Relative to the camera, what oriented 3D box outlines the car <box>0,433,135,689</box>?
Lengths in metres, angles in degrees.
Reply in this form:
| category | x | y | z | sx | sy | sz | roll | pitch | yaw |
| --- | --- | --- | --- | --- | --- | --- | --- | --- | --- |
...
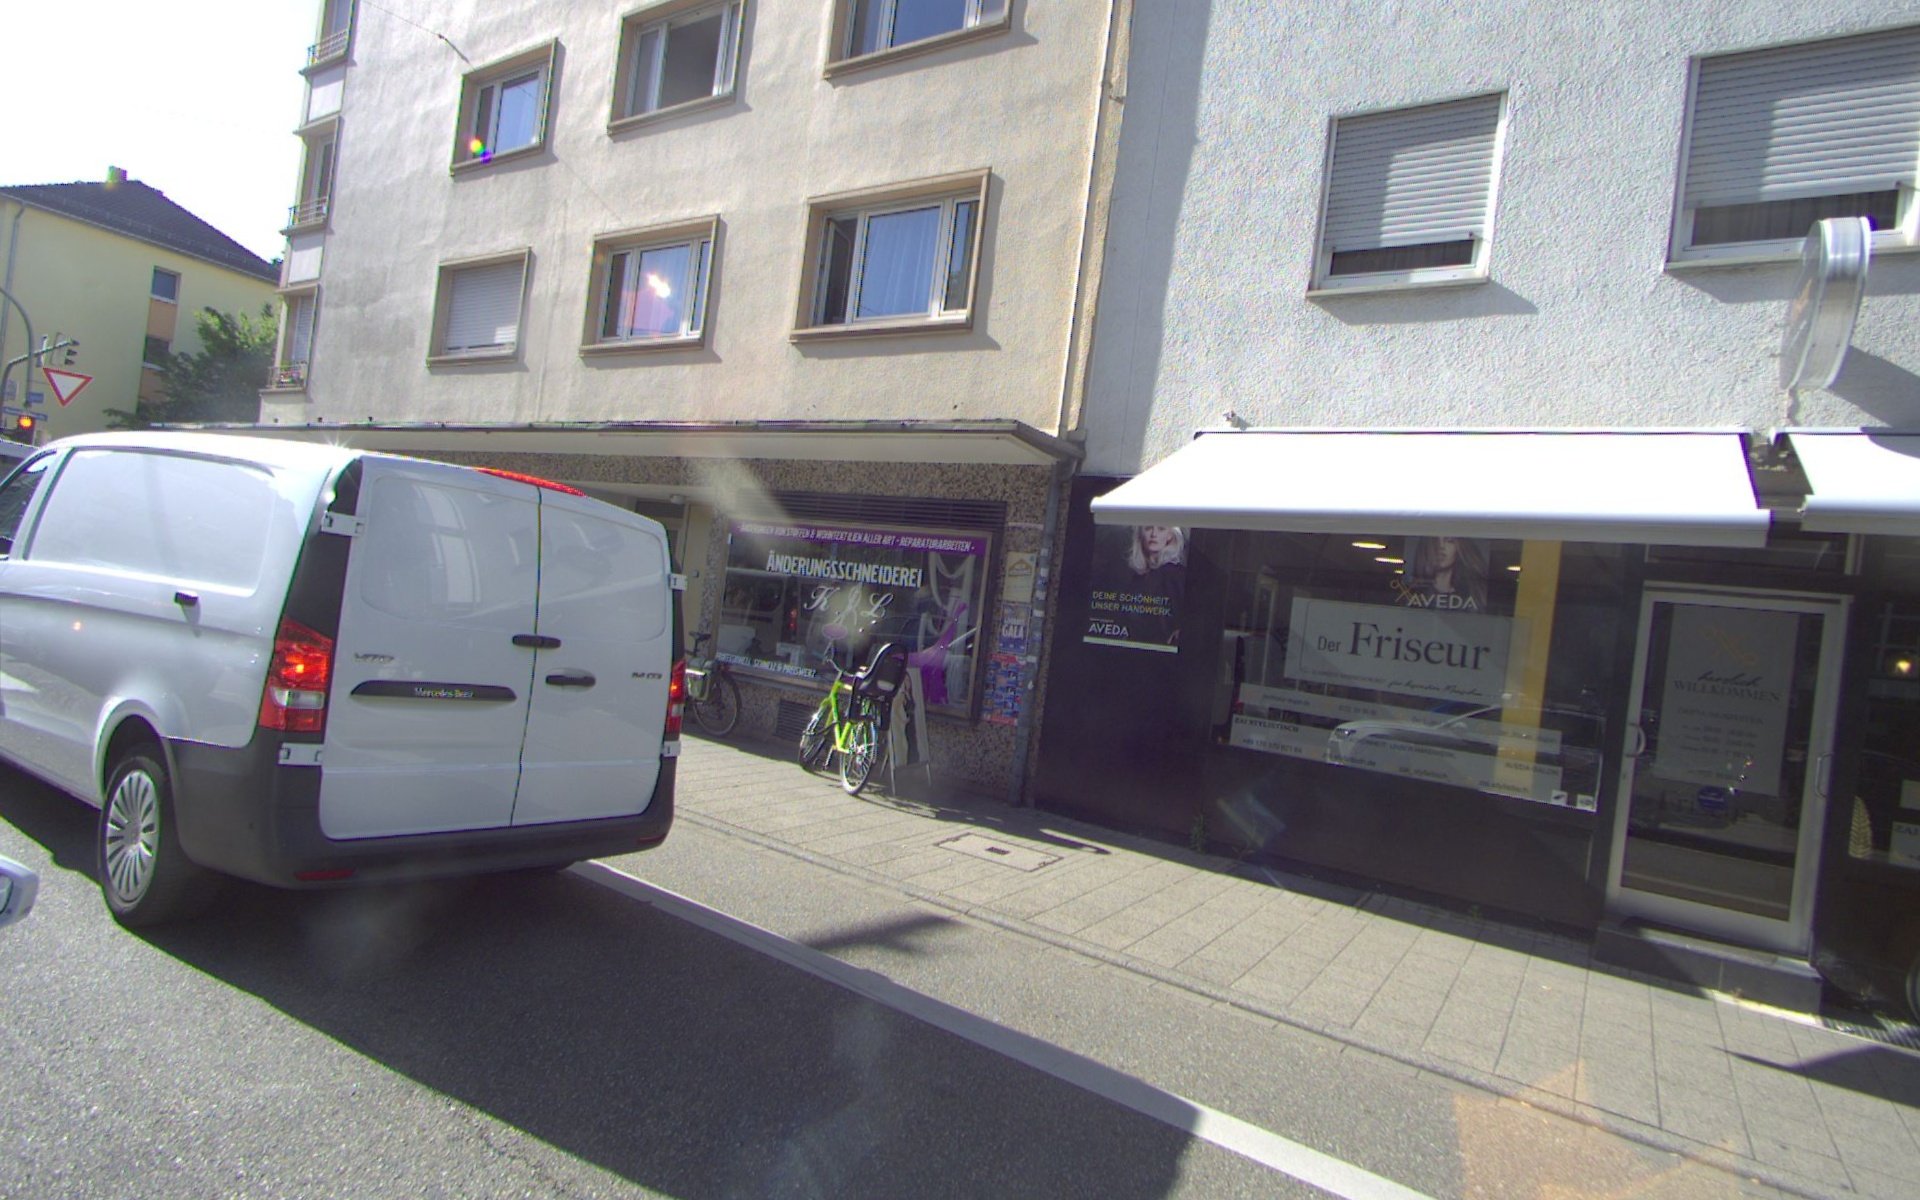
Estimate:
| category | x | y | z | sx | sy | sz | roll | pitch | yaw |
| --- | --- | --- | --- | --- | --- | --- | --- | --- | --- |
| car | -9.808 | -0.583 | 9.154 | 4.815 | 2.001 | 1.998 | 7 | -3 | 33 |

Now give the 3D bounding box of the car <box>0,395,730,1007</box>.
| category | x | y | z | sx | sy | sz | roll | pitch | yaw |
| --- | --- | --- | --- | --- | --- | --- | --- | --- | --- |
| car | -3.725 | 0.169 | 5.198 | 4.915 | 1.890 | 1.840 | 7 | -2 | 33 |

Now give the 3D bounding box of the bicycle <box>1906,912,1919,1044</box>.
| category | x | y | z | sx | sy | sz | roll | pitch | yaw |
| --- | --- | --- | --- | --- | --- | --- | --- | --- | --- |
| bicycle | 5.710 | 1.750 | 4.679 | 1.763 | 1.192 | 0.401 | 7 | 0 | 34 |

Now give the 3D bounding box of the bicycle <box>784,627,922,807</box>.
| category | x | y | z | sx | sy | sz | roll | pitch | yaw |
| --- | --- | --- | --- | --- | --- | --- | --- | --- | --- |
| bicycle | -0.968 | 0.949 | 8.676 | 0.434 | 1.266 | 1.747 | 5 | 1 | -29 |

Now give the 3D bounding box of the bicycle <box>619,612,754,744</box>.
| category | x | y | z | sx | sy | sz | roll | pitch | yaw |
| --- | --- | --- | --- | --- | --- | --- | --- | --- | --- |
| bicycle | -2.900 | 0.788 | 10.552 | 1.703 | 1.149 | 0.400 | 7 | 0 | 43 |
